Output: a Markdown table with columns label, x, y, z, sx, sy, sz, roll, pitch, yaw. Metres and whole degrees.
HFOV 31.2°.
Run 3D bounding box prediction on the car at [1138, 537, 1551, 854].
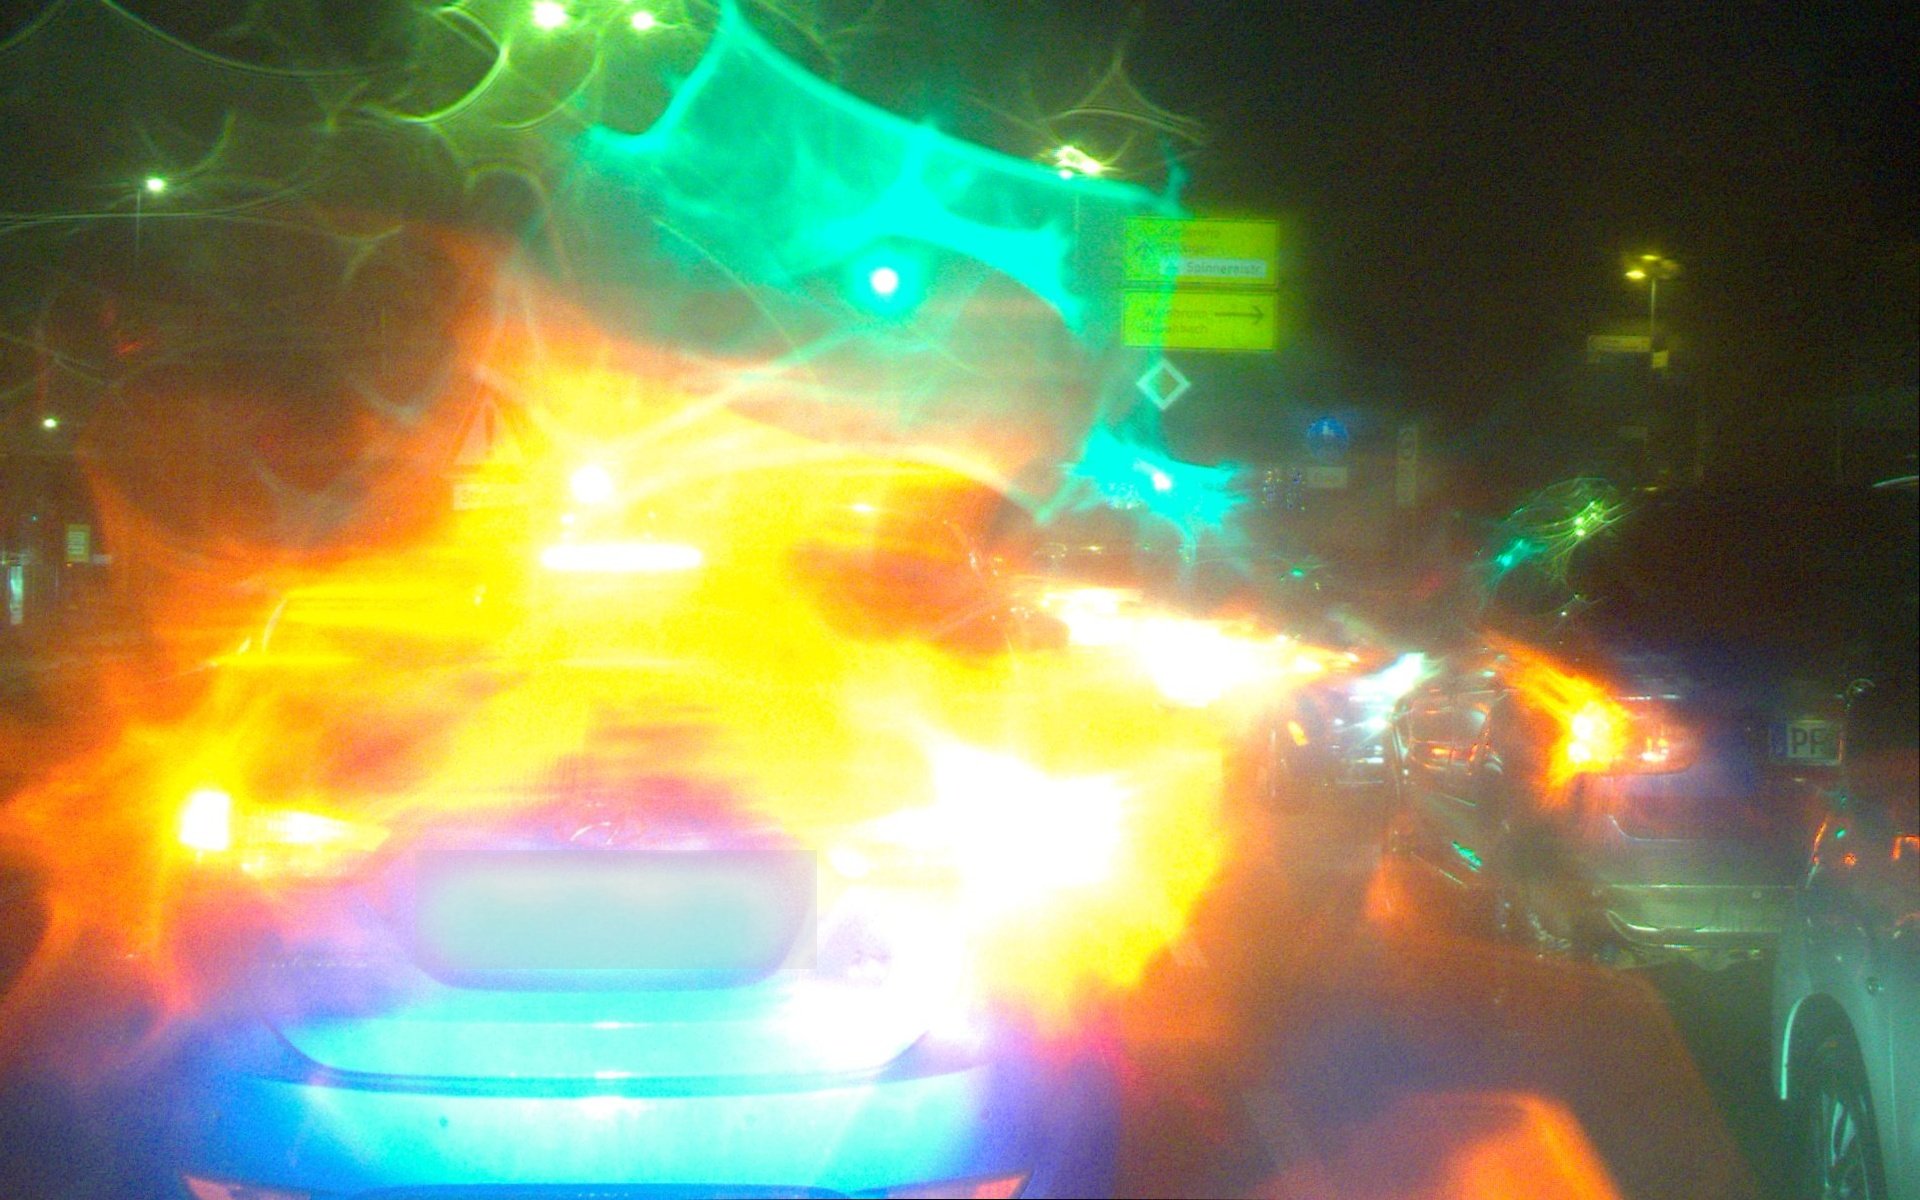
| label | x | y | z | sx | sy | sz | roll | pitch | yaw |
| --- | --- | --- | --- | --- | --- | --- | --- | --- | --- |
| car | 2.220 | 0.505 | 20.906 | 1.993 | 1.712 | 4.000 | 1 | 0 | -1 |

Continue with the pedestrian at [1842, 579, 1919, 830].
| label | x | y | z | sx | sy | sz | roll | pitch | yaw |
| --- | --- | --- | --- | --- | --- | --- | --- | --- | --- |
| pedestrian | 6.466 | 0.709 | 23.623 | 0.622 | 1.696 | 0.541 | 1 | 0 | -3 |

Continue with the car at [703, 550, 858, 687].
| label | x | y | z | sx | sy | sz | roll | pitch | yaw |
| --- | --- | --- | --- | --- | --- | --- | --- | --- | --- |
| car | -2.558 | 0.229 | 48.174 | 1.993 | 1.818 | 4.001 | 1 | 0 | -5 |

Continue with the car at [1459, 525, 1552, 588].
| label | x | y | z | sx | sy | sz | roll | pitch | yaw |
| --- | --- | --- | --- | --- | --- | --- | --- | --- | --- |
| car | 14.898 | -1.193 | 94.020 | 1.865 | 1.641 | 3.963 | -2 | 1 | 0 |

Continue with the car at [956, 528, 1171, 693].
| label | x | y | z | sx | sy | sz | roll | pitch | yaw |
| --- | --- | --- | --- | --- | --- | --- | --- | --- | --- |
| car | 1.124 | 0.094 | 39.406 | 1.993 | 1.767 | 4.001 | 1 | 0 | -5 |

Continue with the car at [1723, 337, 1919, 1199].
| label | x | y | z | sx | sy | sz | roll | pitch | yaw |
| --- | --- | --- | --- | --- | --- | --- | --- | --- | --- |
| car | 2.460 | 0.532 | 4.585 | 1.851 | 1.858 | 4.341 | 1 | 0 | -1 |

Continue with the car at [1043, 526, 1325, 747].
| label | x | y | z | sx | sy | sz | roll | pitch | yaw |
| --- | --- | --- | --- | --- | --- | --- | --- | --- | --- |
| car | 1.769 | 0.264 | 28.395 | 1.993 | 1.664 | 4.000 | 1 | 1 | -1 |

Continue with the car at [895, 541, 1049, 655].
| label | x | y | z | sx | sy | sz | roll | pitch | yaw |
| --- | --- | --- | --- | --- | --- | --- | --- | --- | --- |
| car | 0.133 | -0.048 | 49.501 | 1.857 | 1.539 | 3.931 | 1 | 1 | -5 |

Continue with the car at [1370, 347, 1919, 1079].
| label | x | y | z | sx | sy | sz | roll | pitch | yaw |
| --- | --- | --- | --- | --- | --- | --- | --- | --- | --- |
| car | 2.650 | 0.307 | 11.654 | 1.968 | 2.040 | 4.000 | 1 | 0 | -1 |

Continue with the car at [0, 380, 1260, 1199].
| label | x | y | z | sx | sy | sz | roll | pitch | yaw |
| --- | --- | --- | --- | --- | --- | --- | --- | --- | --- |
| car | -0.586 | 0.503 | 7.678 | 2.014 | 1.711 | 4.452 | 1 | 1 | -1 |

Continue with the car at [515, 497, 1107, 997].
| label | x | y | z | sx | sy | sz | roll | pitch | yaw |
| --- | --- | --- | --- | --- | --- | --- | --- | --- | --- |
| car | -0.533 | 0.485 | 13.743 | 1.993 | 1.678 | 4.000 | 1 | 0 | -1 |
